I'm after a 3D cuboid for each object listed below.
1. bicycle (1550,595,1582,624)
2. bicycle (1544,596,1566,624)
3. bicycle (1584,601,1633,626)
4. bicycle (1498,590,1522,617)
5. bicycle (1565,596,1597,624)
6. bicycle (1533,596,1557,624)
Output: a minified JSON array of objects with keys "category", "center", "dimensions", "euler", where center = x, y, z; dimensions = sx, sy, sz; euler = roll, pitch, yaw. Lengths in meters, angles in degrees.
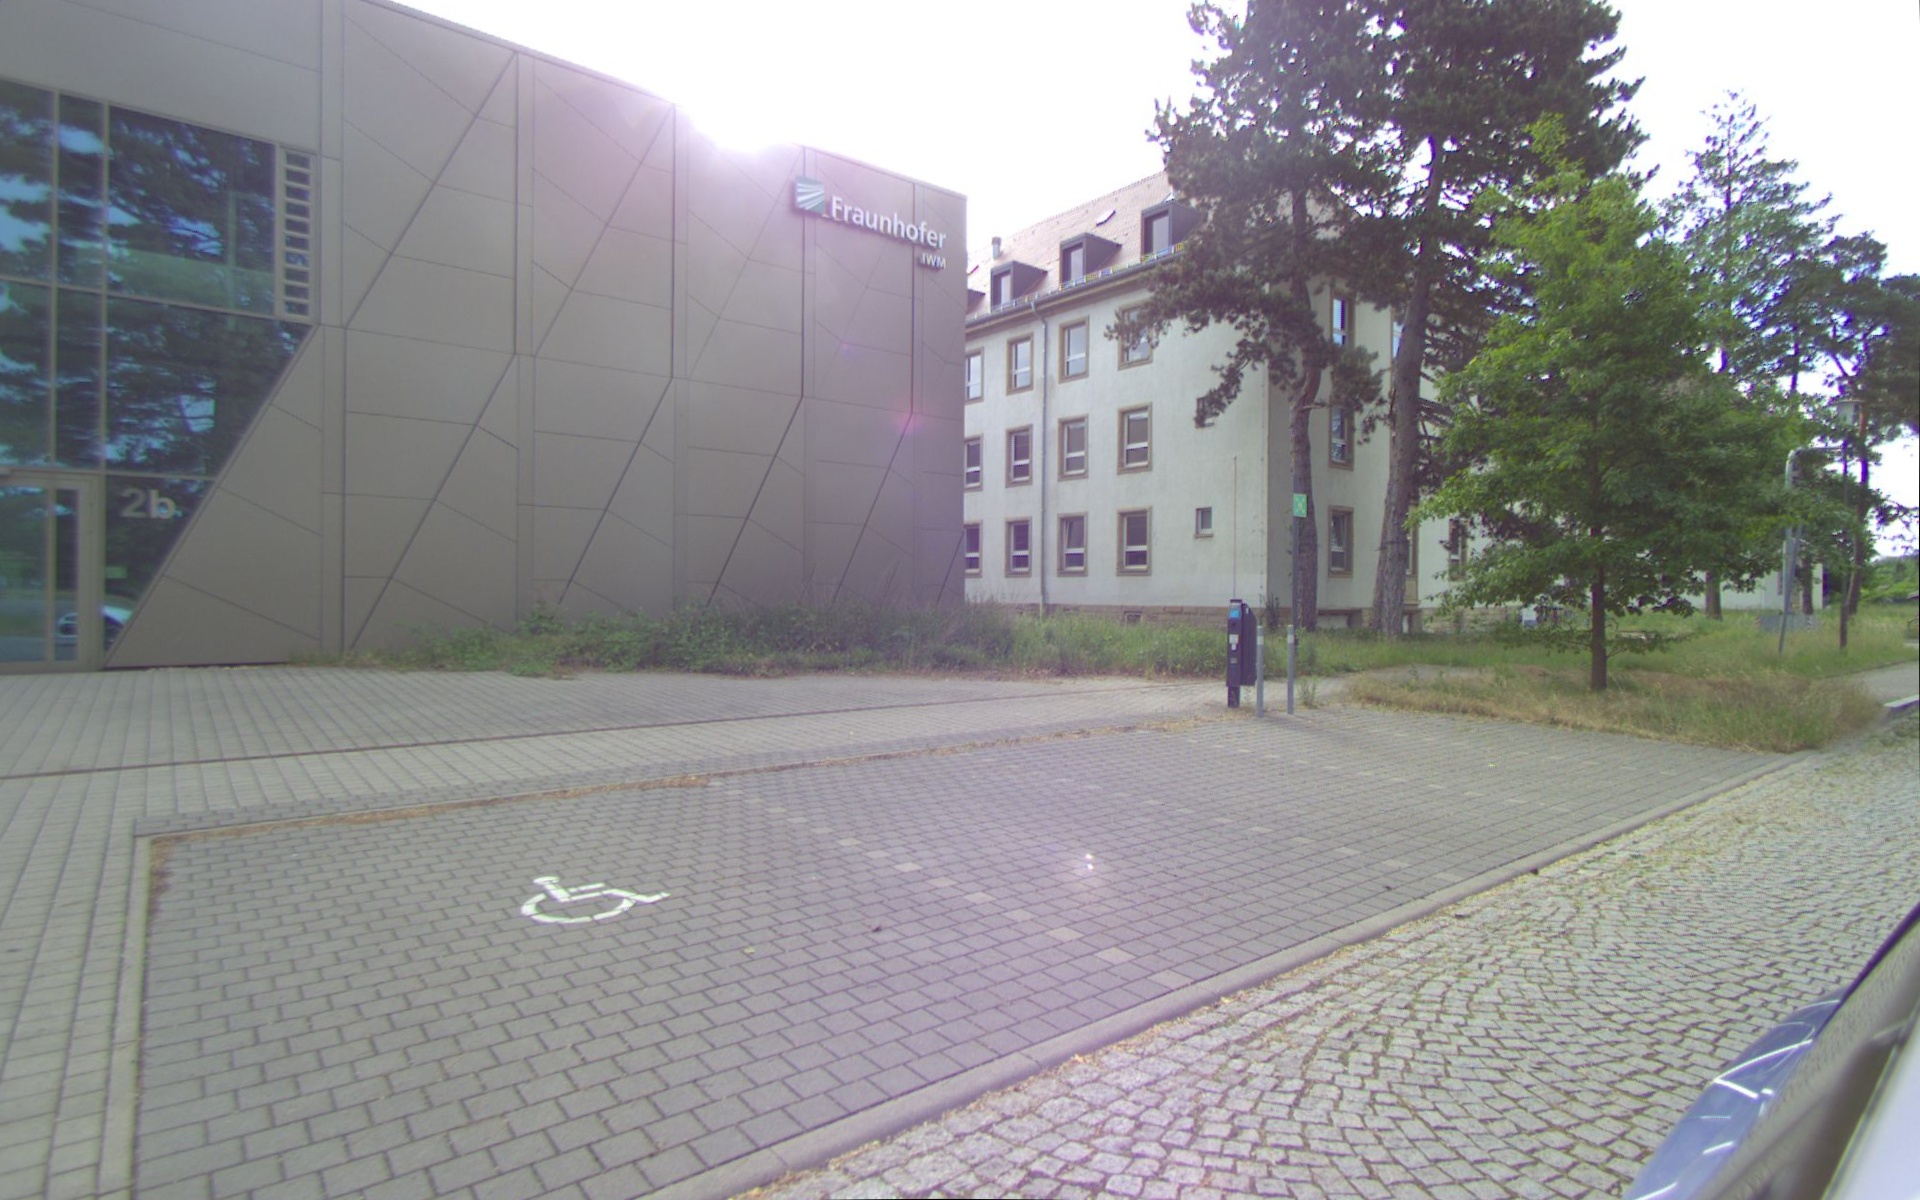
[{"category":"bicycle","center":[29.530,0.455,49.329],"dimensions":[1.801,1.349,0.573],"euler":[0,0,-32]},{"category":"bicycle","center":[29.229,0.462,49.725],"dimensions":[1.808,1.349,0.481],"euler":[0,0,-45]},{"category":"bicycle","center":[29.803,0.609,46.535],"dimensions":[0.562,1.098,1.838],"euler":[-2,1,-35]},{"category":"bicycle","center":[27.870,0.173,51.263],"dimensions":[1.808,1.349,0.571],"euler":[0,0,-45]},{"category":"bicycle","center":[30.008,0.474,48.911],"dimensions":[1.801,1.349,0.573],"euler":[0,0,-32]},{"category":"bicycle","center":[28.967,0.469,50.070],"dimensions":[1.808,1.349,0.571],"euler":[0,0,-45]}]
